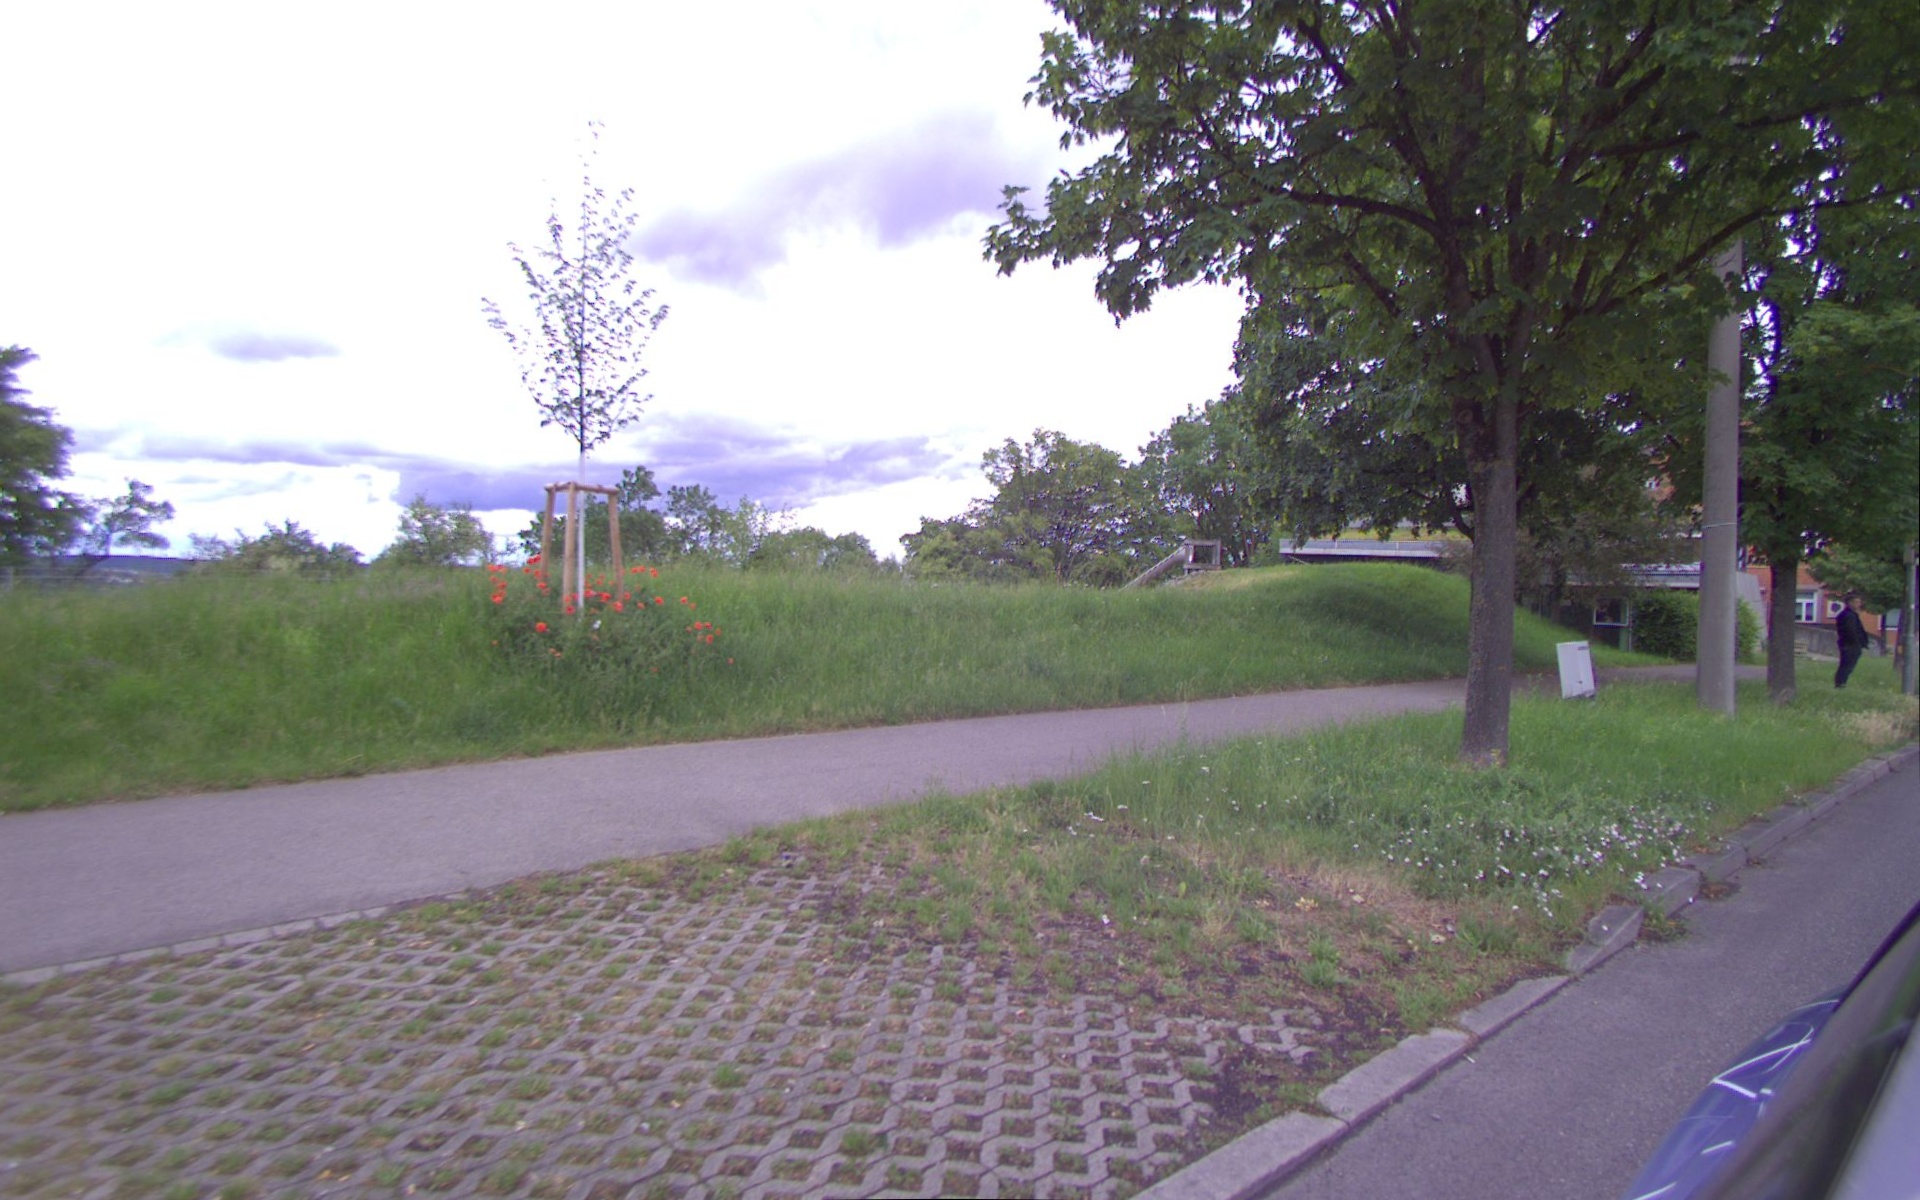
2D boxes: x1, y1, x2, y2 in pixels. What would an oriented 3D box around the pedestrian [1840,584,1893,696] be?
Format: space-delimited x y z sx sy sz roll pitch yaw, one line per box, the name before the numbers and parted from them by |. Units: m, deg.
pedestrian | 15.757 0.676 17.581 0.642 1.879 0.662 1 -1 43
